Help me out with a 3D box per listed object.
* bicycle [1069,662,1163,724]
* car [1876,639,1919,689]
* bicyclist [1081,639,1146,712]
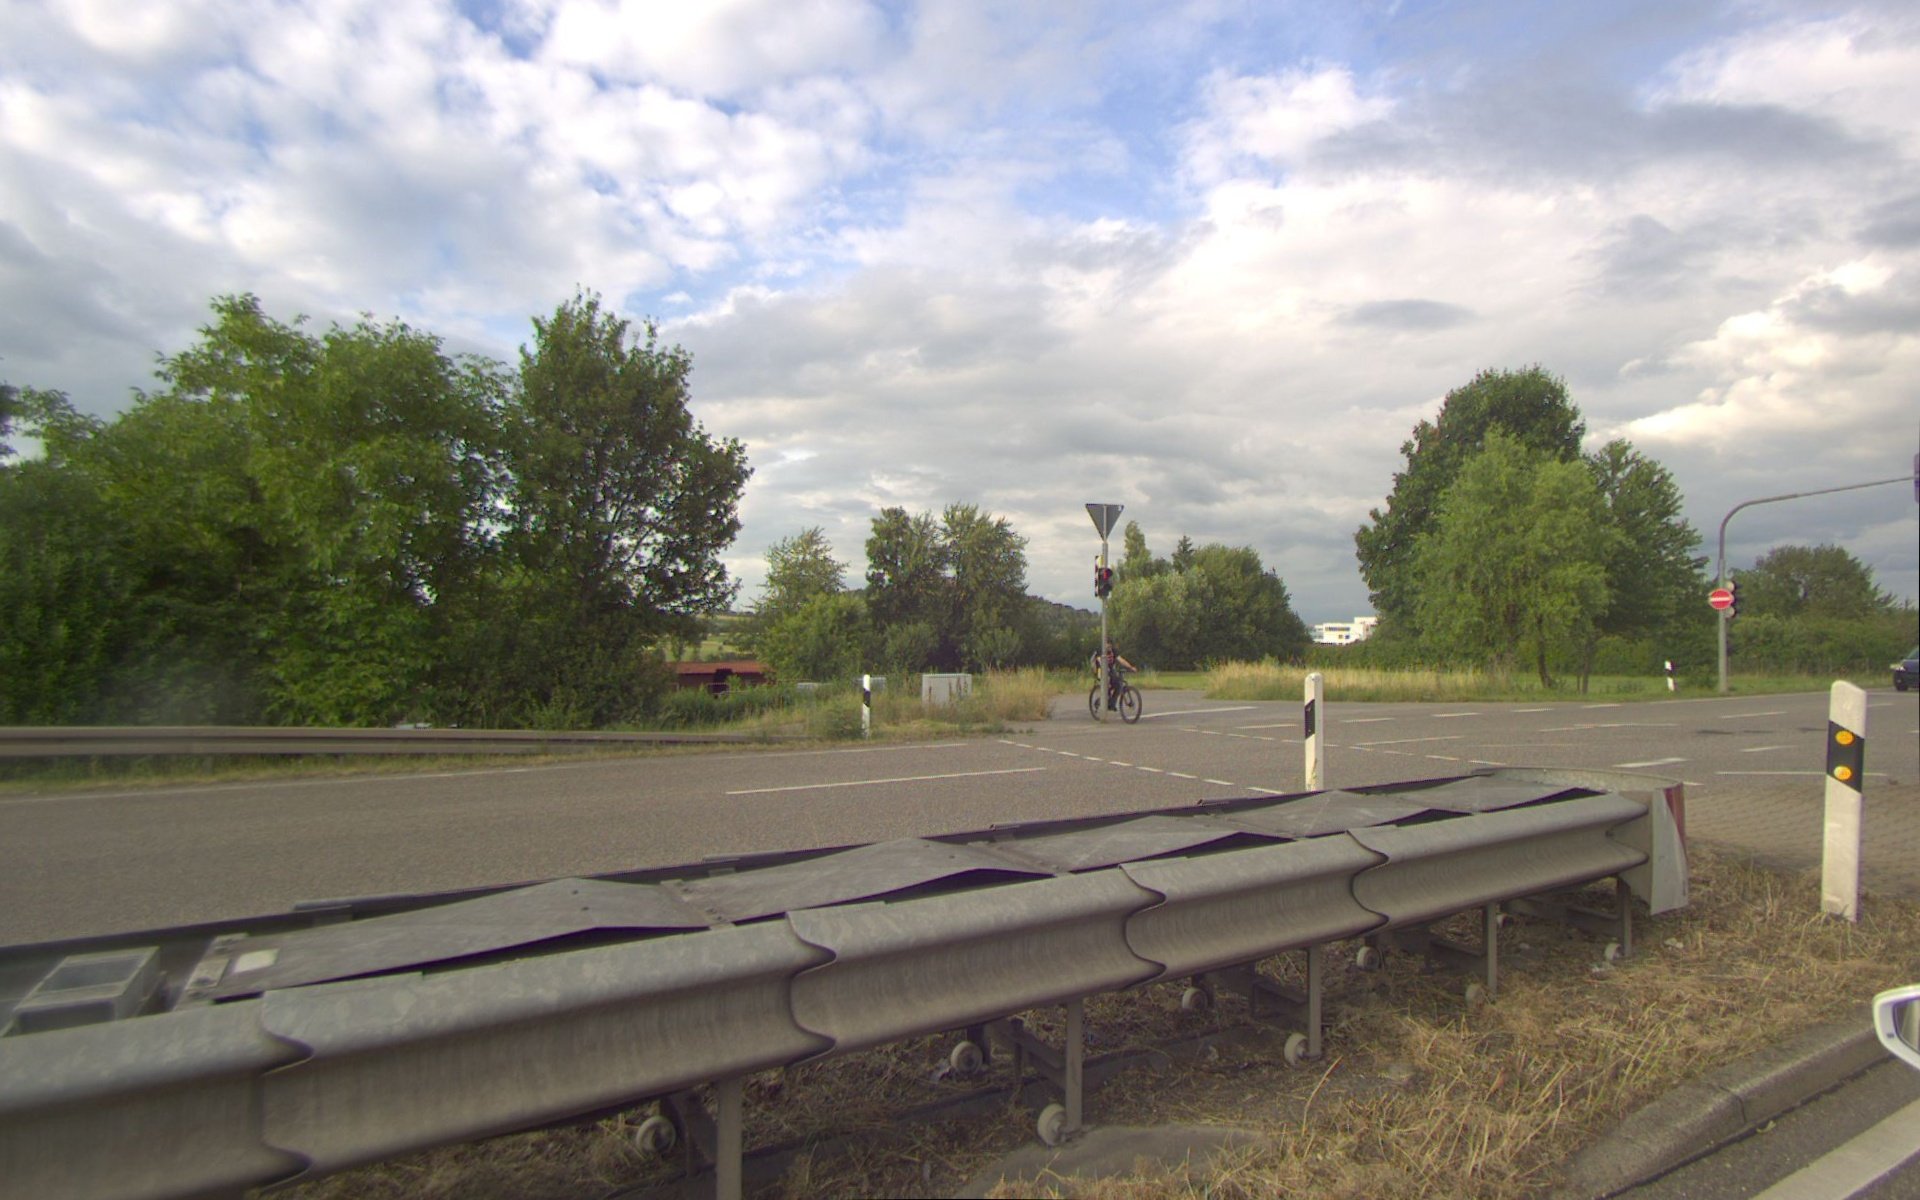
[{"bbox_3d":[3.202,1.900,20.867,0.804,1.152,2.314,1,-2,-24],"label":"bicycle"},{"bbox_3d":[31.713,2.031,32.369,4.881,1.556,1.899,1,-2,-31],"label":"car"},{"bbox_3d":[3.183,1.538,20.904,0.804,1.470,1.219,1,-2,-24],"label":"bicyclist"}]
